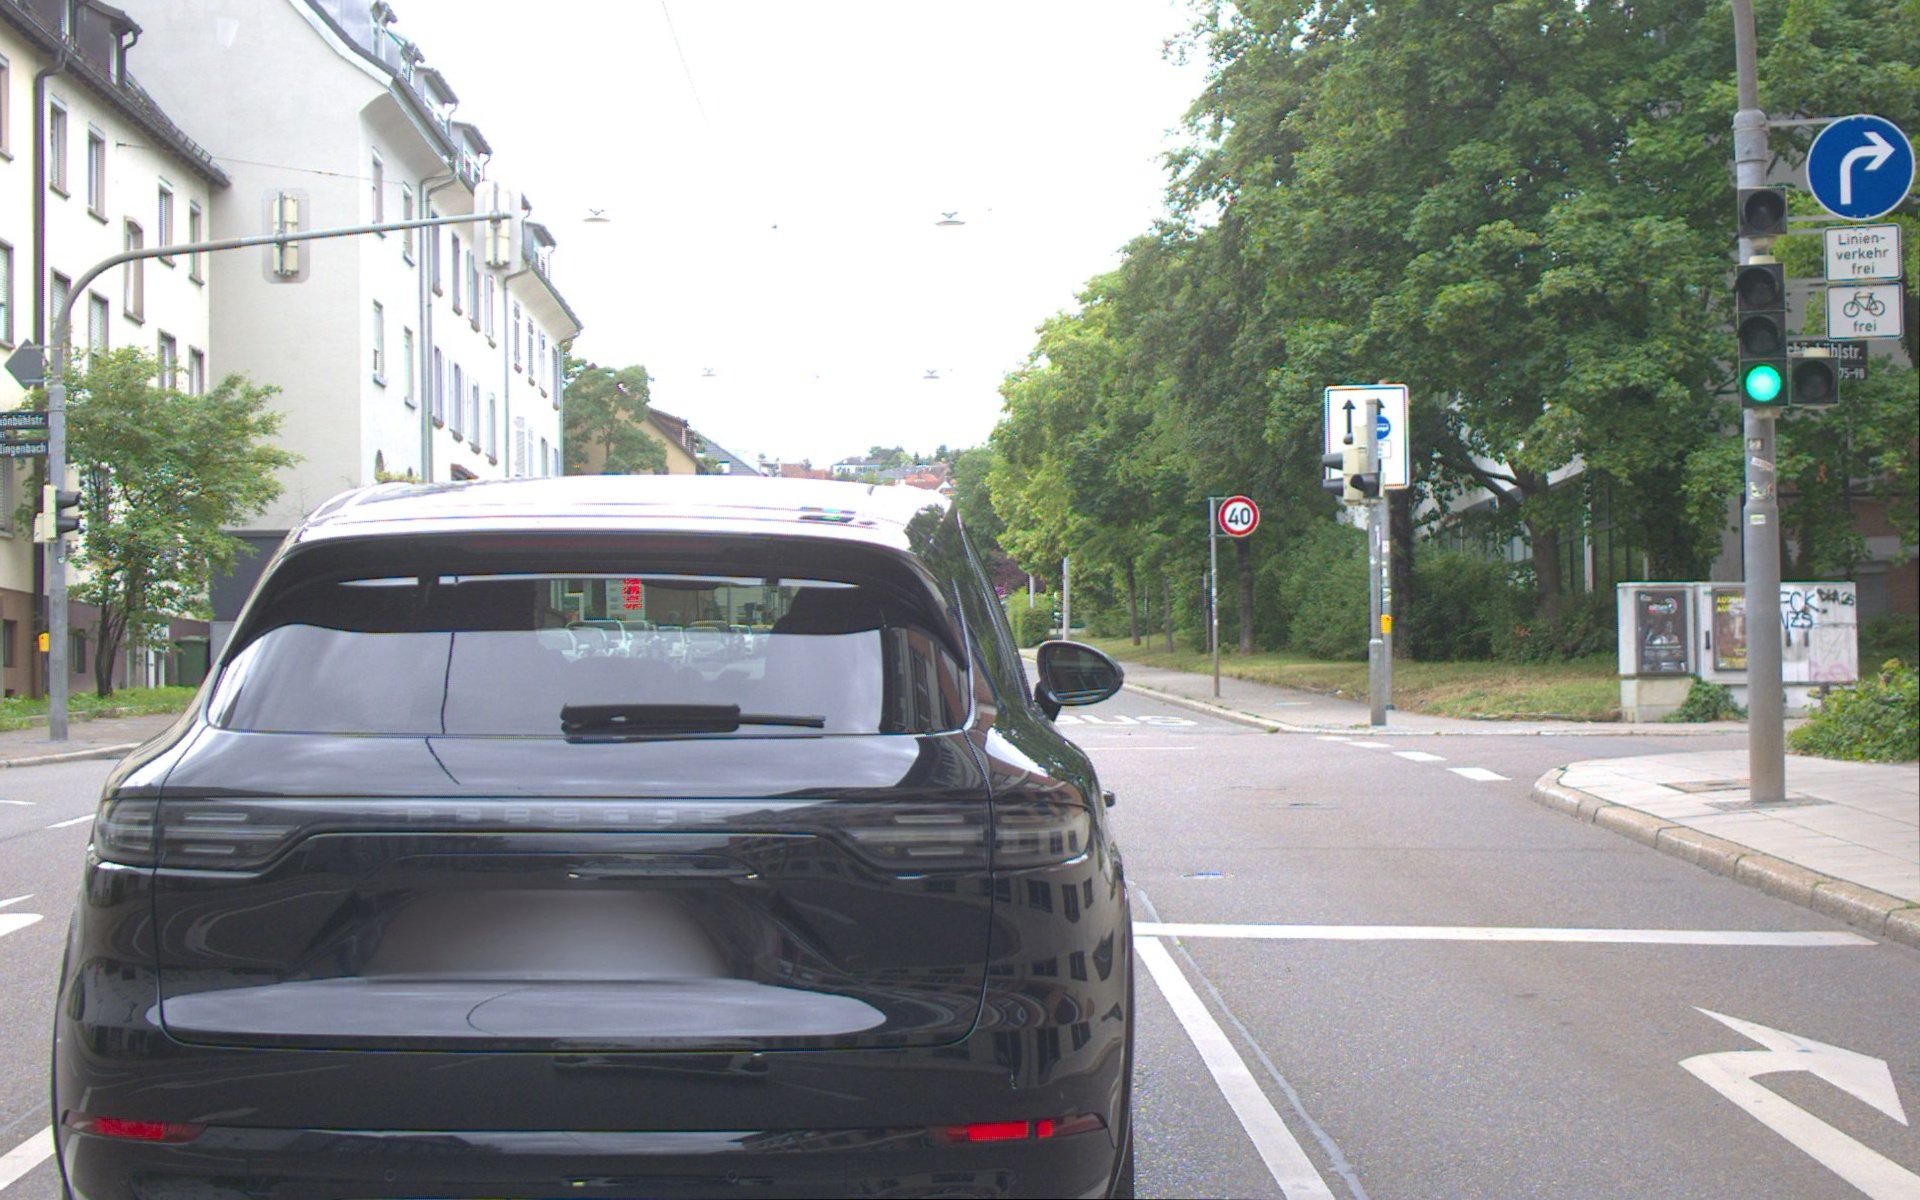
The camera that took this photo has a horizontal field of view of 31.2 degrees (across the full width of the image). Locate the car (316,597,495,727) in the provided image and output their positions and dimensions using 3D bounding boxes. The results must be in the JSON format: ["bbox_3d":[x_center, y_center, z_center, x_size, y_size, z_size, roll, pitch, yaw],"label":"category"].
[{"bbox_3d":[-7.301,0.790,45.579,1.664,1.514,3.740,-4,0,0],"label":"car"}]

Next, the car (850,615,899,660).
[{"bbox_3d":[-3.145,1.346,125.734,1.688,1.547,3.889,1,1,-2],"label":"car"}]

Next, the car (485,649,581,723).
[{"bbox_3d":[-8.612,1.722,69.593,1.669,1.357,4.001,0,1,-3],"label":"car"}]

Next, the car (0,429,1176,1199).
[{"bbox_3d":[-0.683,0.563,7.528,1.993,1.691,4.000,1,1,-1],"label":"car"}]
